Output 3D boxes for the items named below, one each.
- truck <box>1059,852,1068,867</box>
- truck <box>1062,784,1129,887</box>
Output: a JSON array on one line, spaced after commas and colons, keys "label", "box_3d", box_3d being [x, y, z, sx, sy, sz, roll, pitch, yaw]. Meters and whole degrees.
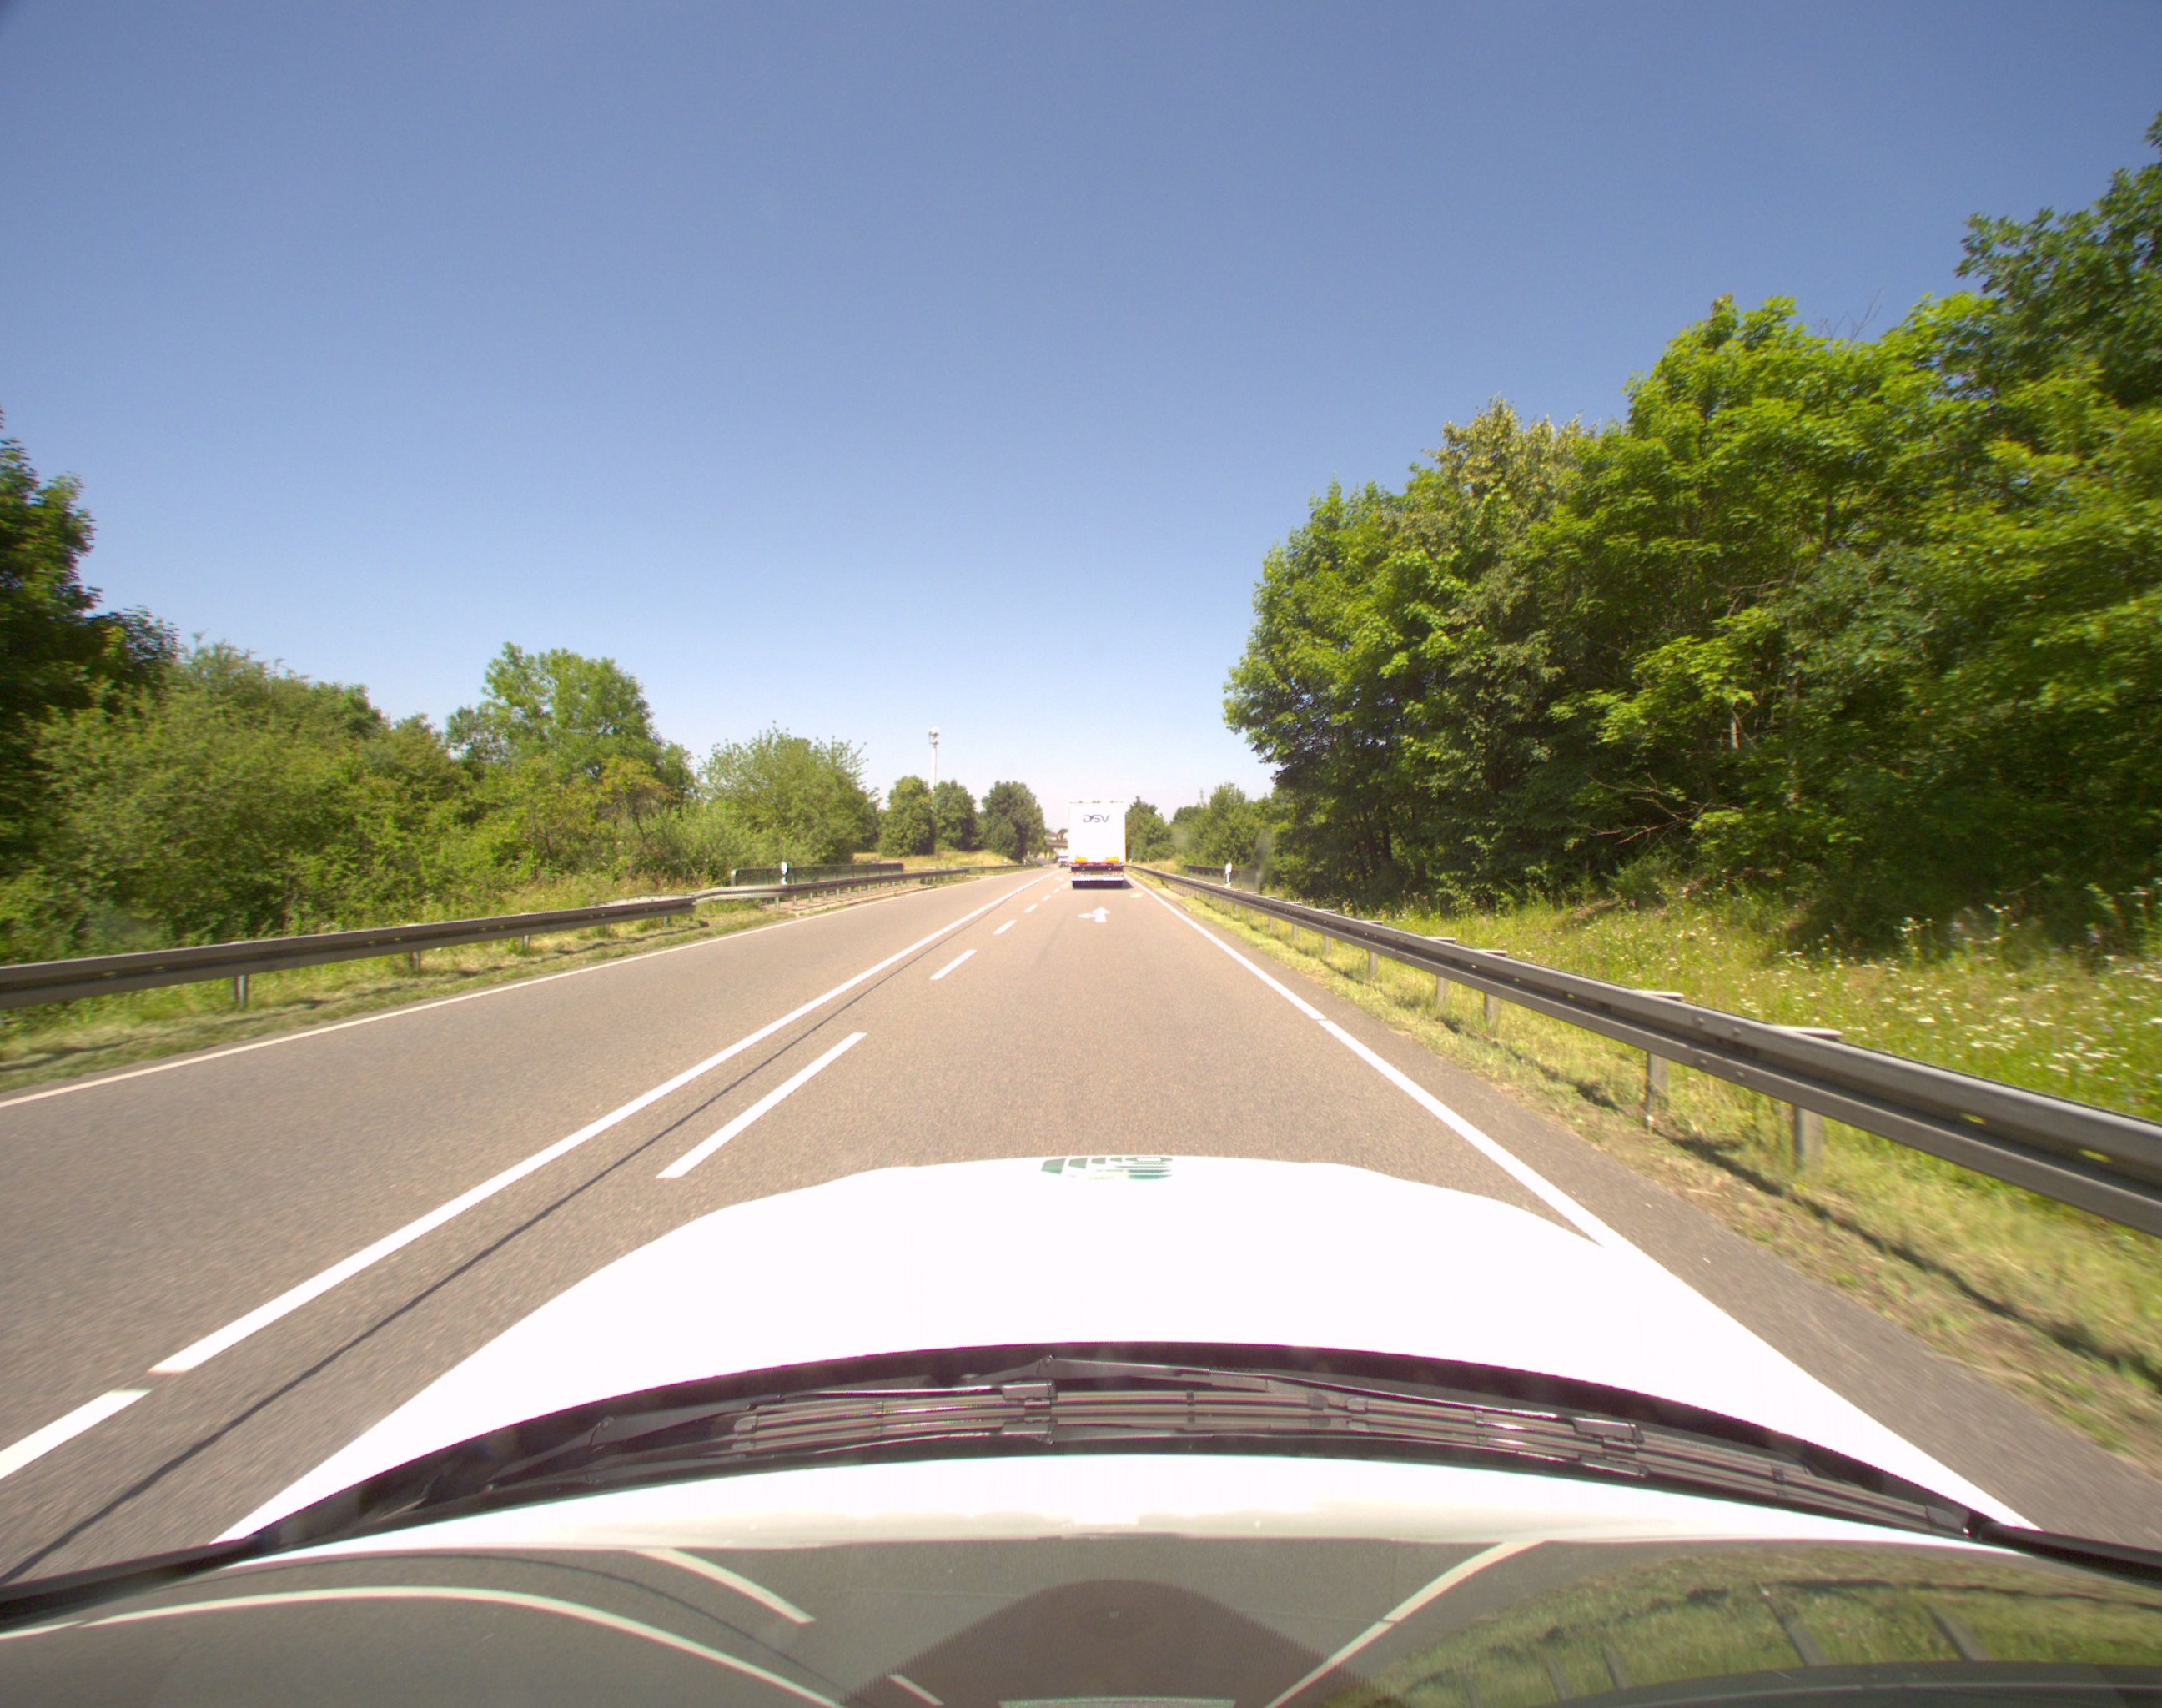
[{"label": "truck", "box_3d": [-4.765, 1.486, 223.392, 2.345, 3.750, 12.623, -1, 0, 0]}, {"label": "truck", "box_3d": [0.784, -0.768, 41.120, 2.939, 4.569, 9.864, -1, -1, 1]}]
